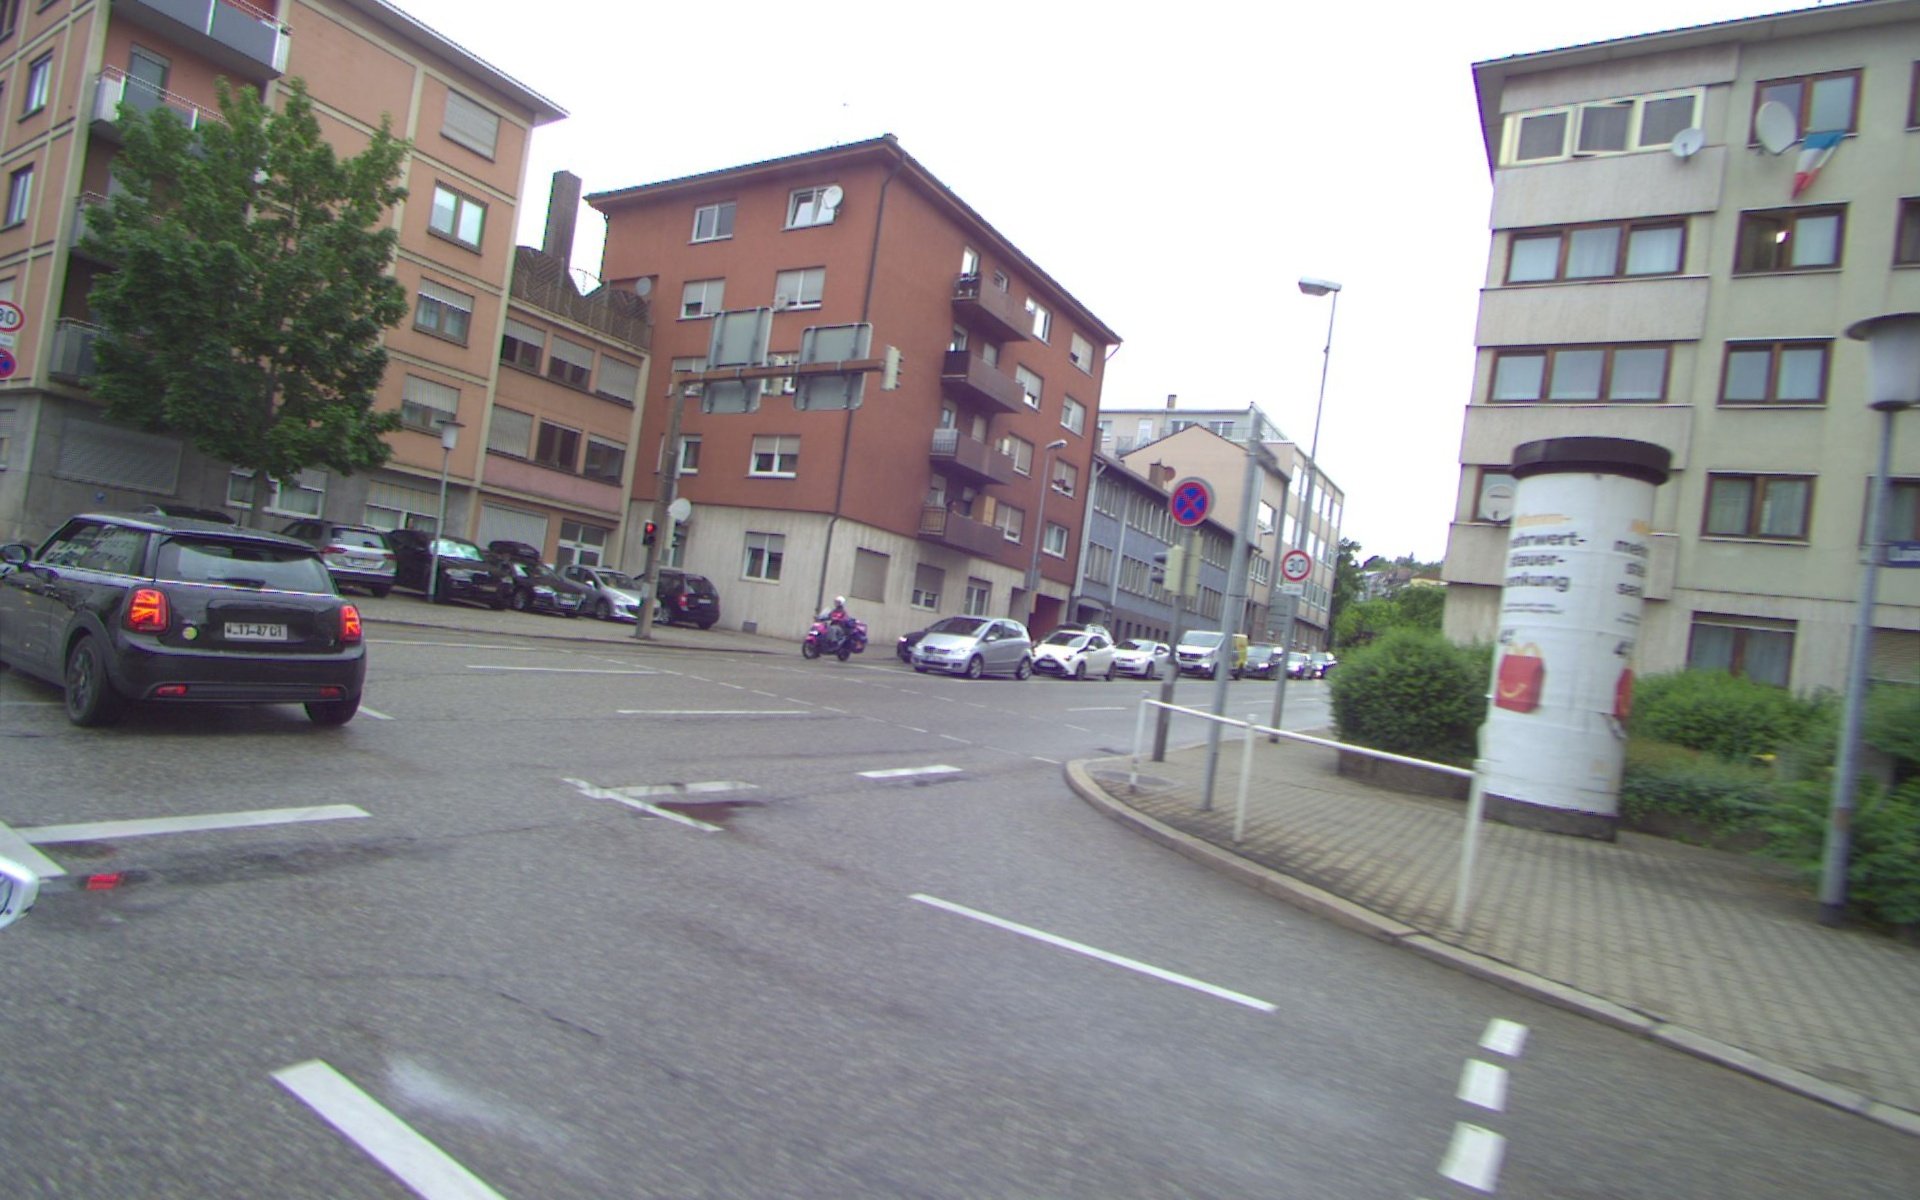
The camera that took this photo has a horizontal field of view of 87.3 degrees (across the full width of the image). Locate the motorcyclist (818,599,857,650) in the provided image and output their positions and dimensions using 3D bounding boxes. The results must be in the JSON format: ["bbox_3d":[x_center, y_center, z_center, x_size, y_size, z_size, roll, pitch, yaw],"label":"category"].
[{"bbox_3d":[-3.217,0.652,26.426,0.643,1.239,0.657,7,1,26],"label":"motorcyclist"}]

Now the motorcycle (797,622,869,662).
[{"bbox_3d":[-3.296,1.124,26.409,0.626,0.938,2.362,5,-1,26],"label":"motorcycle"}]

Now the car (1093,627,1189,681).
[{"bbox_3d":[6.570,1.983,36.265,1.820,1.573,3.991,7,-1,34],"label":"car"}]

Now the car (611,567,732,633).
[{"bbox_3d":[-9.536,-0.026,33.101,1.991,1.724,3.951,11,-5,-44],"label":"car"}]

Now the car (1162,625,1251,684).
[{"bbox_3d":[10.428,2.321,42.331,1.913,1.937,4.847,5,-4,34],"label":"car"}]

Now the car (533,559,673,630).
[{"bbox_3d":[-10.825,-0.179,30.476,3.932,1.599,1.674,6,-4,29],"label":"car"}]

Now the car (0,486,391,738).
[{"bbox_3d":[-6.503,-0.012,8.005,4.005,1.437,1.662,8,0,33],"label":"car"}]

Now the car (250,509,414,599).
[{"bbox_3d":[-15.254,-1.133,24.383,3.940,1.680,1.987,7,-1,38],"label":"car"}]

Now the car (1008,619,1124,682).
[{"bbox_3d":[3.328,1.585,30.895,1.820,1.573,3.992,7,-1,33],"label":"car"}]

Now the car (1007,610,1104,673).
[{"bbox_3d":[3.529,1.537,36.392,1.765,1.746,3.998,6,-4,32],"label":"car"}]

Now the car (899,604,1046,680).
[{"bbox_3d":[0.407,1.139,26.161,1.811,1.573,3.991,7,-1,33],"label":"car"}]

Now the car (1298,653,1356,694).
[{"bbox_3d":[21.097,4.248,57.723,1.886,1.879,4.847,5,-4,34],"label":"car"}]

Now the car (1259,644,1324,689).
[{"bbox_3d":[17.604,3.572,53.292,1.886,1.879,4.847,5,-4,34],"label":"car"}]

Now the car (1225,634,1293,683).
[{"bbox_3d":[14.279,2.820,47.888,1.700,1.879,4.342,5,-3,34],"label":"car"}]

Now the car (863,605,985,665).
[{"bbox_3d":[-1.023,1.100,30.803,1.844,1.459,3.995,6,-1,29],"label":"car"}]

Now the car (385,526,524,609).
[{"bbox_3d":[-13.319,-0.880,26.399,3.949,1.740,1.982,6,-1,45],"label":"car"}]

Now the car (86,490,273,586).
[{"bbox_3d":[-17.203,-1.399,22.100,4.721,1.573,1.845,7,-1,35],"label":"car"}]

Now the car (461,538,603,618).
[{"bbox_3d":[-12.217,-0.633,28.633,3.939,1.717,1.796,7,-3,37],"label":"car"}]
